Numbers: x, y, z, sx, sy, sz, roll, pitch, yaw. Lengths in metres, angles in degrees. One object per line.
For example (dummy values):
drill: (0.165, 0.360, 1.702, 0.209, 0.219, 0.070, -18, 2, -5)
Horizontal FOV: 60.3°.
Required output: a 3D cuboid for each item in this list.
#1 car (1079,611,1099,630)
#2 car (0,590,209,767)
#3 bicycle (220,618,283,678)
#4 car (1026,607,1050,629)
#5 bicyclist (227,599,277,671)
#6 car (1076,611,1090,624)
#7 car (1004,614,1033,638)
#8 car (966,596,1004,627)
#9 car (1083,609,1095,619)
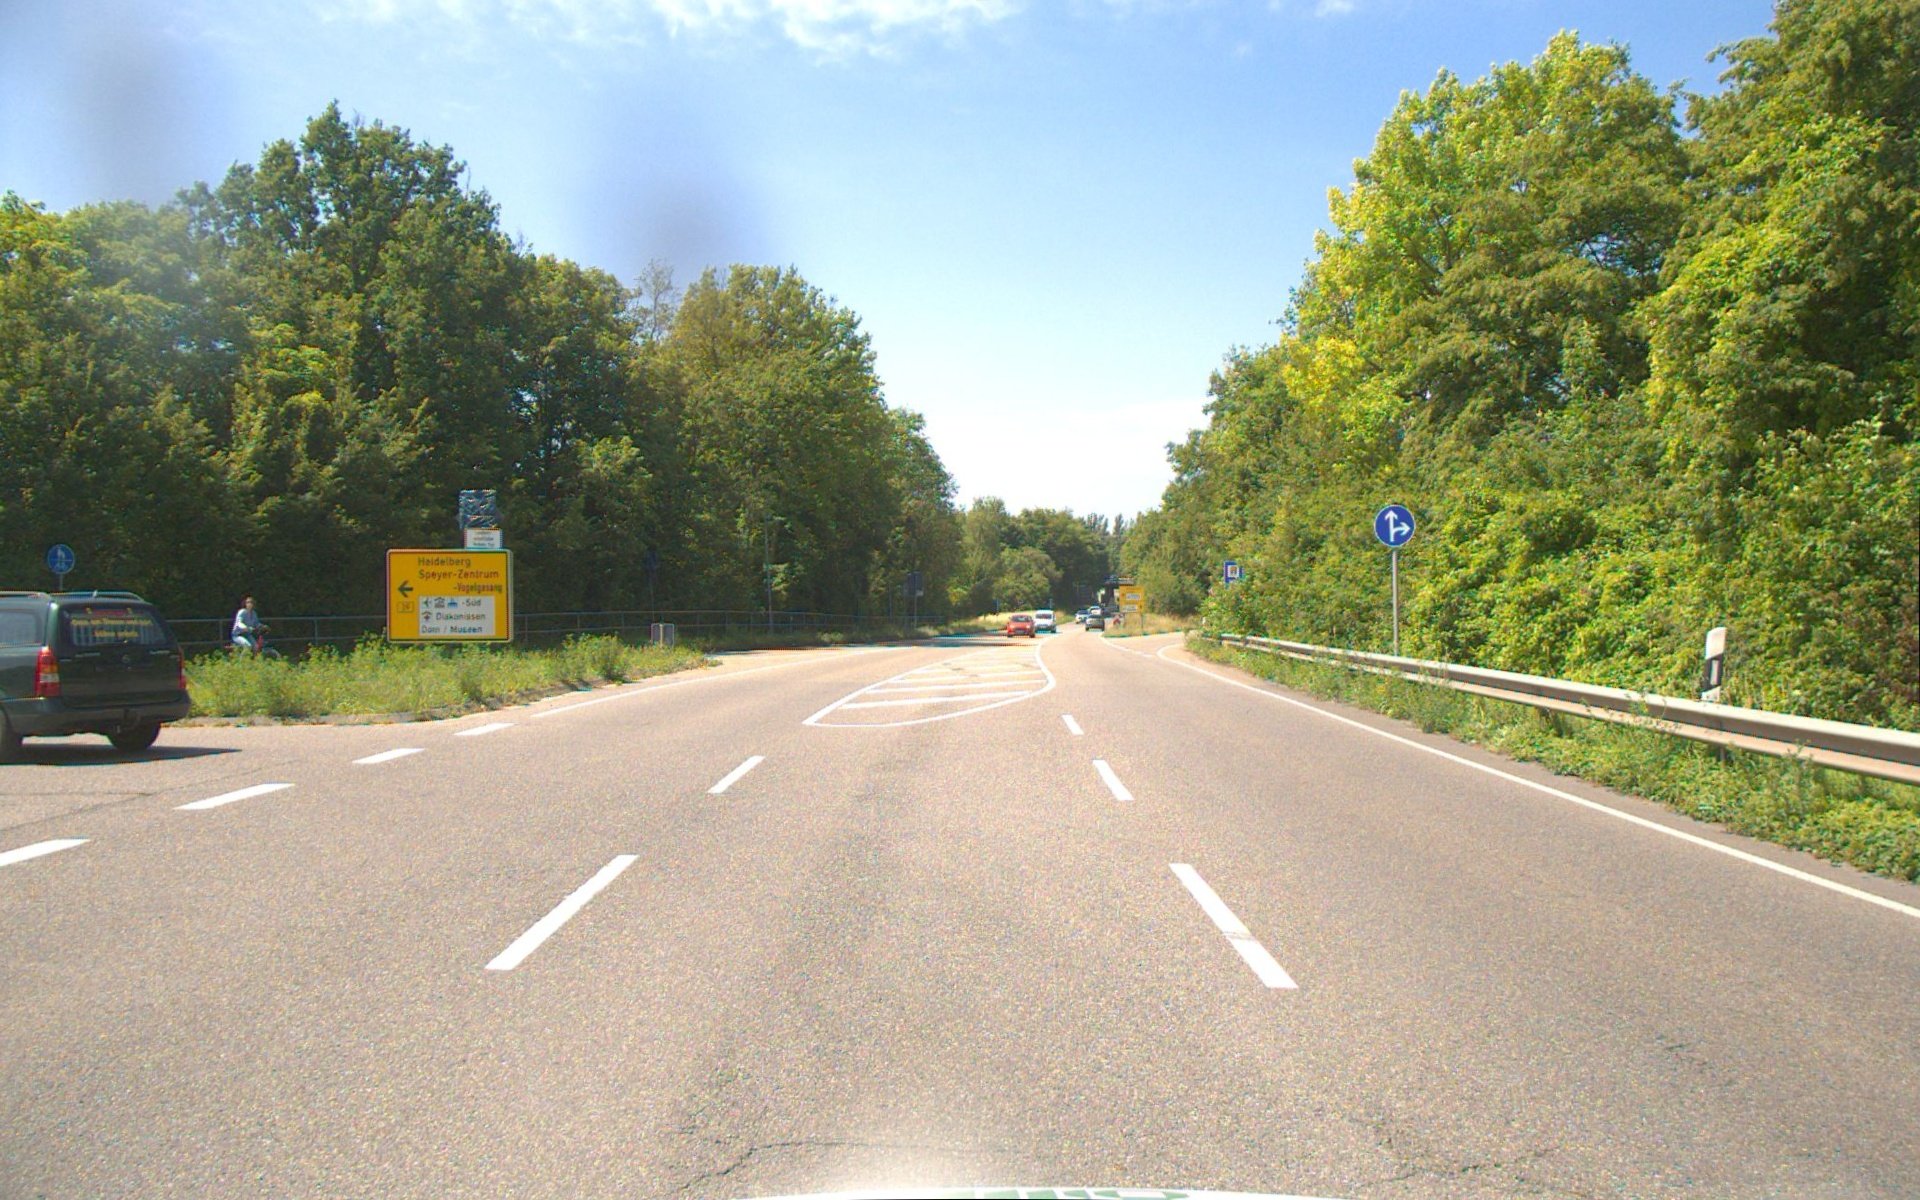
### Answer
car: (11.991, 1.899, 153.800, 1.805, 1.714, 4.002, 0, 1, 3)
car: (-9.119, 0.691, 15.500, 3.708, 1.482, 1.725, -1, 0, 23)
bicycle: (-13.715, 0.914, 32.009, 1.452, 1.133, 0.435, 0, -1, 36)
car: (6.454, 1.474, 136.640, 1.952, 1.760, 4.276, 0, 0, 3)
bicyclist: (-13.706, 0.668, 32.018, 0.597, 1.387, 0.687, 0, -1, 36)
car: (15.349, 2.126, 206.395, 1.642, 1.554, 4.002, 0, 0, 4)
car: (3.779, 1.653, 106.723, 1.772, 1.483, 3.759, 1, 0, 3)
car: (2.682, 1.209, 178.711, 1.971, 3.282, 4.763, 0, 0, -29)
car: (19.808, 2.137, 253.290, 1.683, 1.555, 3.712, 0, 0, 6)
